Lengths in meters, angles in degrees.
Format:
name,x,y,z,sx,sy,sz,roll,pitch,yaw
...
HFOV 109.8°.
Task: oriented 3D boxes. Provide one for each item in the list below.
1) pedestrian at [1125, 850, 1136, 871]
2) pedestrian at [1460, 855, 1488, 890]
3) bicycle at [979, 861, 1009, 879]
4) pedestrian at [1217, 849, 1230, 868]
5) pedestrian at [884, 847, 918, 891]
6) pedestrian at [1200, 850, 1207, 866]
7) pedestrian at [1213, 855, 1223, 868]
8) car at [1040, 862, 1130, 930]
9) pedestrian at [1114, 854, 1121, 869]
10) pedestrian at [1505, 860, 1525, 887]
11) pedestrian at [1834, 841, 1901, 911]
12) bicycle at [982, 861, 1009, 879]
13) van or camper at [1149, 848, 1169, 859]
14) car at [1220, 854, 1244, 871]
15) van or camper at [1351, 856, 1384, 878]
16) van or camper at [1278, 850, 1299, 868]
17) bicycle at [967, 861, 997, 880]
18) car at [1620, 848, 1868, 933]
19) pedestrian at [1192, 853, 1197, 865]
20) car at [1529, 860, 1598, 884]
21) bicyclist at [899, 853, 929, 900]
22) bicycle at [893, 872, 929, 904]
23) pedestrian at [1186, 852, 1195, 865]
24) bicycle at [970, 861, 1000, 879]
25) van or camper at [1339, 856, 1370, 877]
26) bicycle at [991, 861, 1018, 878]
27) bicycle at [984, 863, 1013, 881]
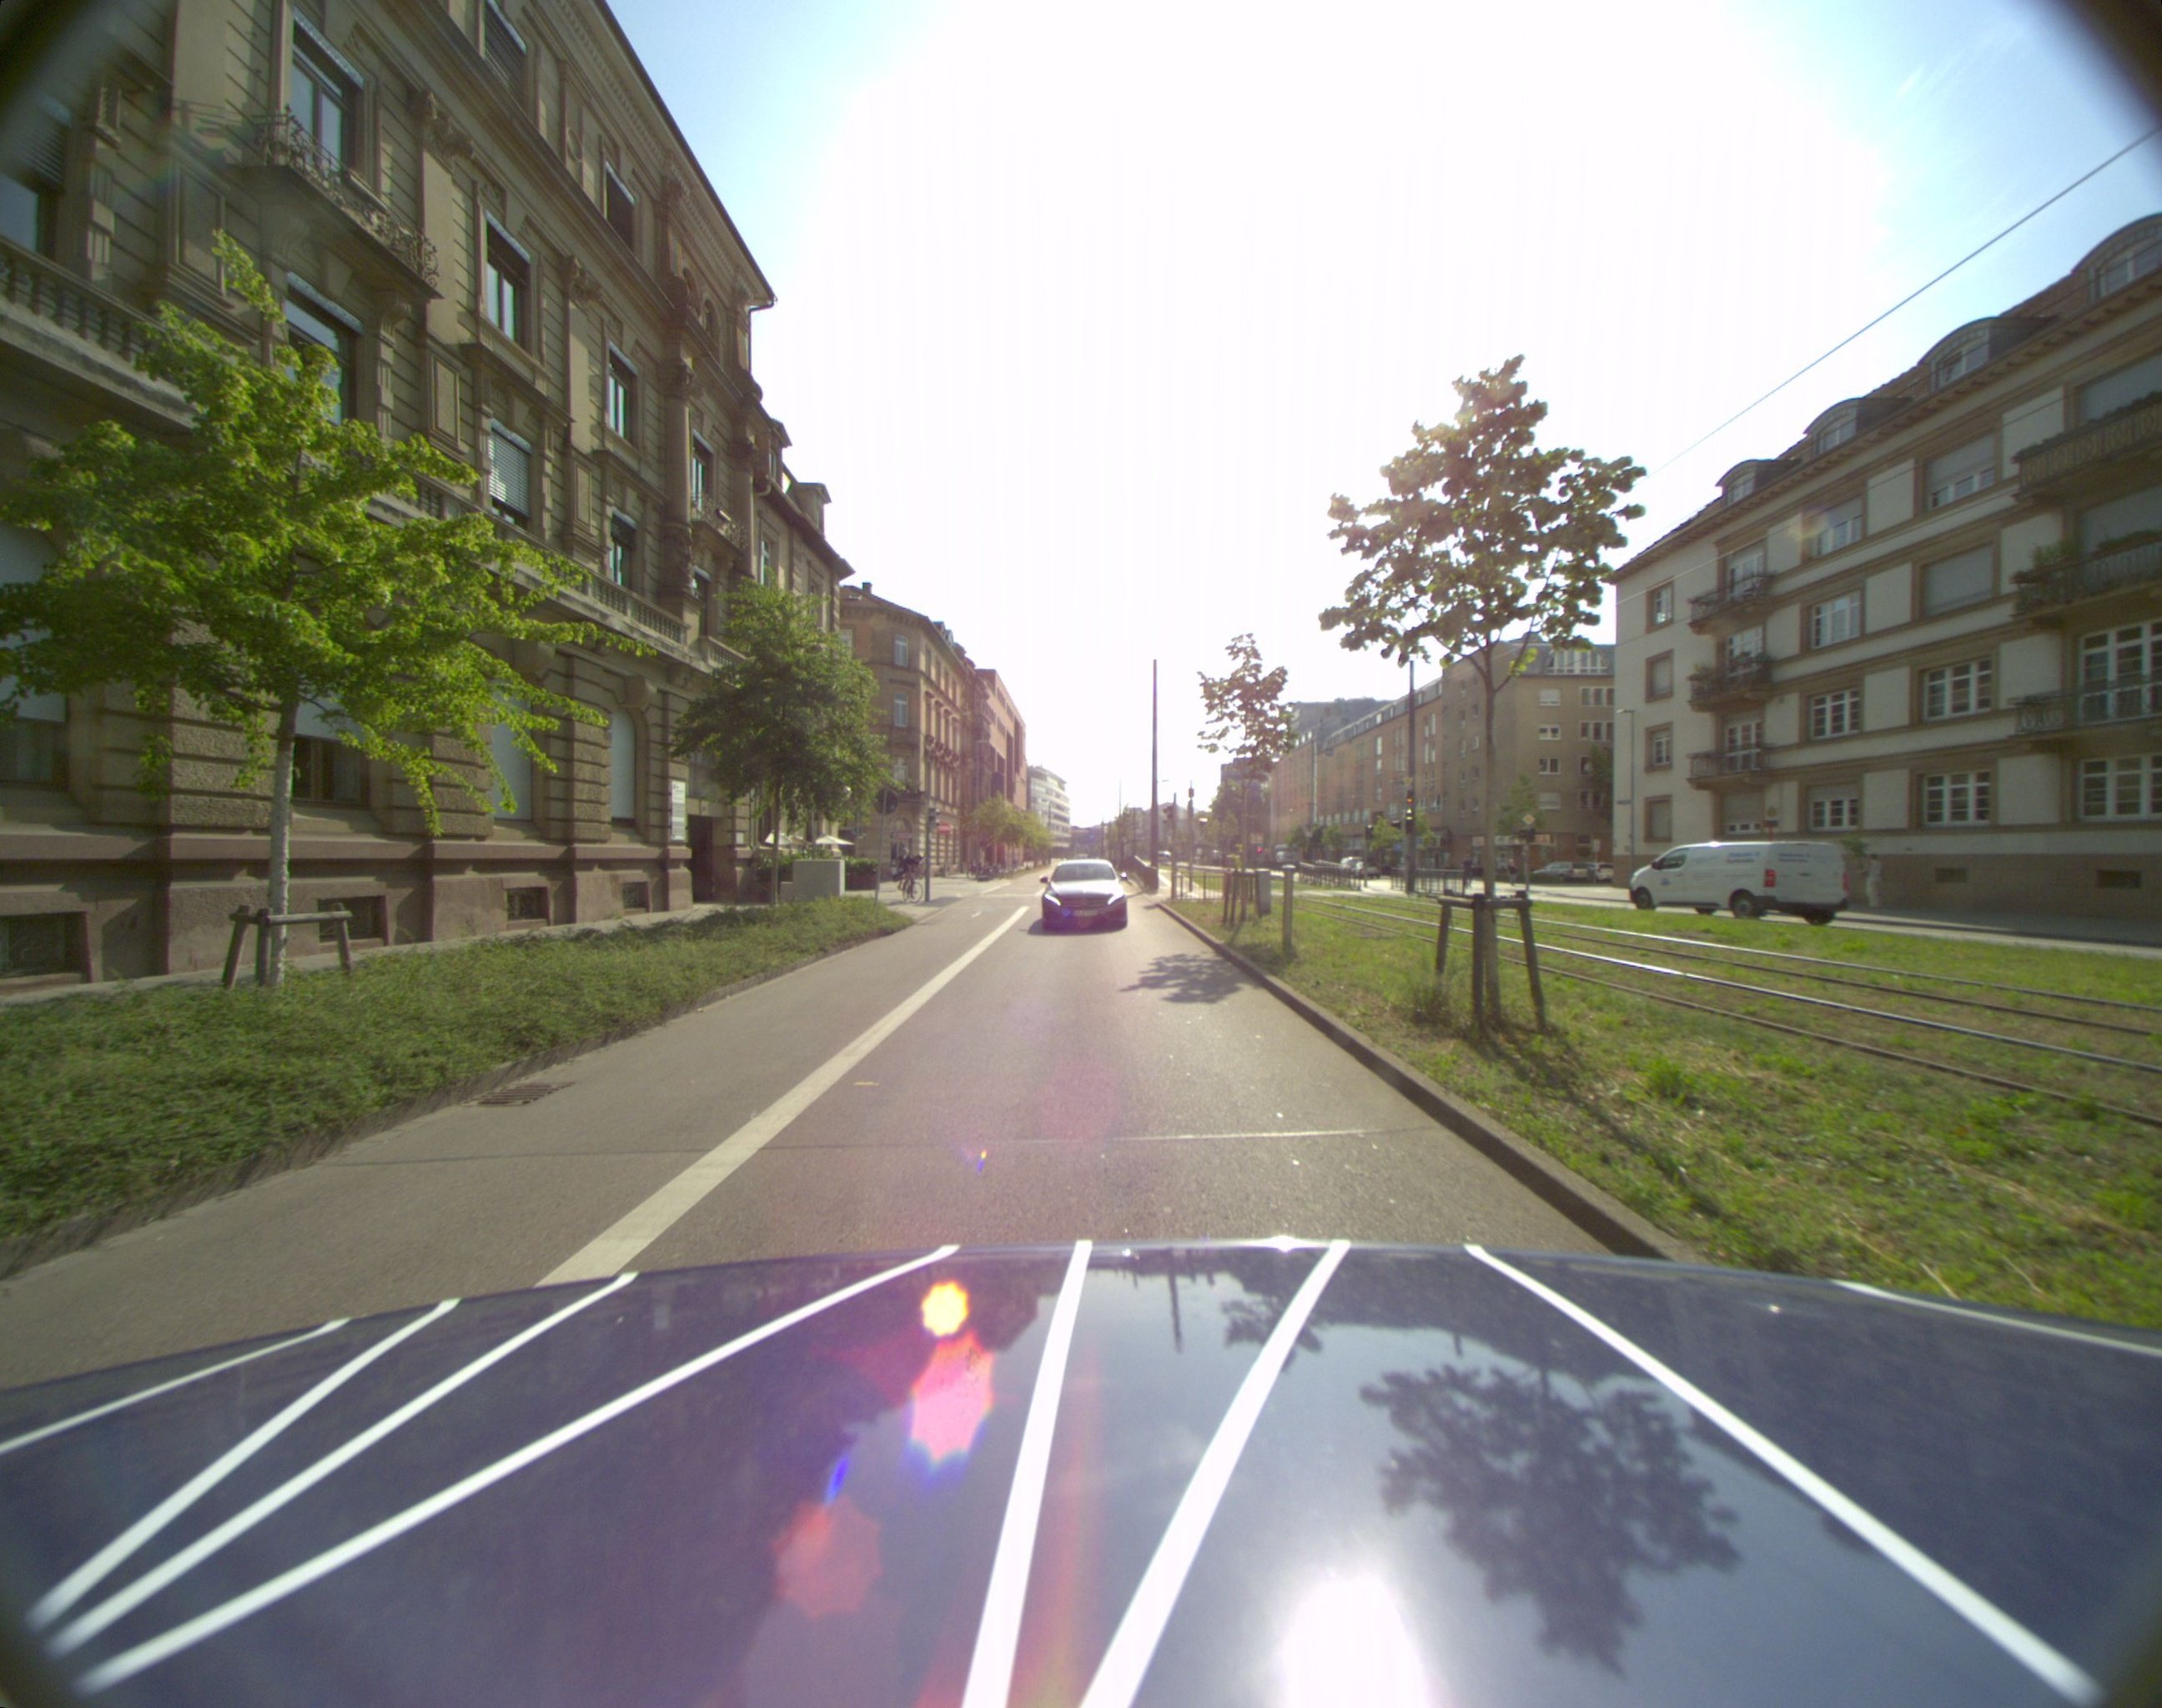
name,x,y,z,sx,sy,sz,roll,pitch,yaw
pedestrian,4.655,0.609,71.522,0.835,2.002,1.028,-2,1,-2
pedestrian,21.338,0.993,41.286,1.073,1.857,0.862,0,1,-26
bicycle,-5.629,1.022,49.316,1.758,1.081,0.669,3,0,6
pedestrian,13.936,0.428,74.365,0.743,1.861,0.936,0,1,-40
pedestrian,-7.584,0.643,32.037,0.862,1.795,0.995,1,-2,33
pedestrian,14.924,0.475,92.603,0.807,1.875,0.555,0,1,2
pedestrian,15.200,0.822,84.165,0.679,1.522,0.810,0,1,-30
car,0.115,0.919,18.366,1.907,1.384,4.236,-1,0,1
pedestrian,4.341,0.928,90.062,0.675,1.747,0.727,-2,1,0
pedestrian,26.102,1.152,45.729,0.680,1.574,0.807,0,0,-2
pedestrian,23.754,0.655,22.971,0.844,2.056,1.157,-1,0,2
bicycle,-5.862,1.097,51.881,1.761,1.081,0.657,3,0,-8
van or camper,16.845,-0.087,164.721,1.939,2.198,3.974,0,0,-45
car,18.390,0.964,92.700,1.998,2.002,4.932,1,0,0
van or camper,26.537,1.198,70.499,1.934,1.956,4.002,0,0,5
van or camper,32.779,0.751,120.252,1.998,2.785,5.353,1,0,1
bicycle,-6.176,1.022,47.474,1.756,1.081,0.583,2,0,4
car,16.539,0.817,19.432,1.998,1.884,5.047,0,0,1
pedestrian,16.166,0.691,108.380,0.652,1.750,0.698,-2,1,2
car,33.820,1.240,53.383,1.768,1.590,4.554,1,0,-3
bicyclist,-5.525,0.733,25.126,0.587,1.474,0.929,2,1,-35
bicycle,-5.681,1.110,25.307,0.508,0.948,1.780,2,1,-35
pedestrian,14.868,0.641,102.793,0.787,1.736,0.833,2,1,-36
bicycle,-6.084,1.014,48.074,1.756,1.081,0.583,2,0,4
van or camper,27.282,1.242,75.847,1.997,2.002,4.002,1,0,6
bicycle,-5.375,1.110,53.440,1.761,1.081,0.610,3,0,-8
bicycle,-5.505,1.199,50.789,1.763,1.081,0.671,3,0,-22
